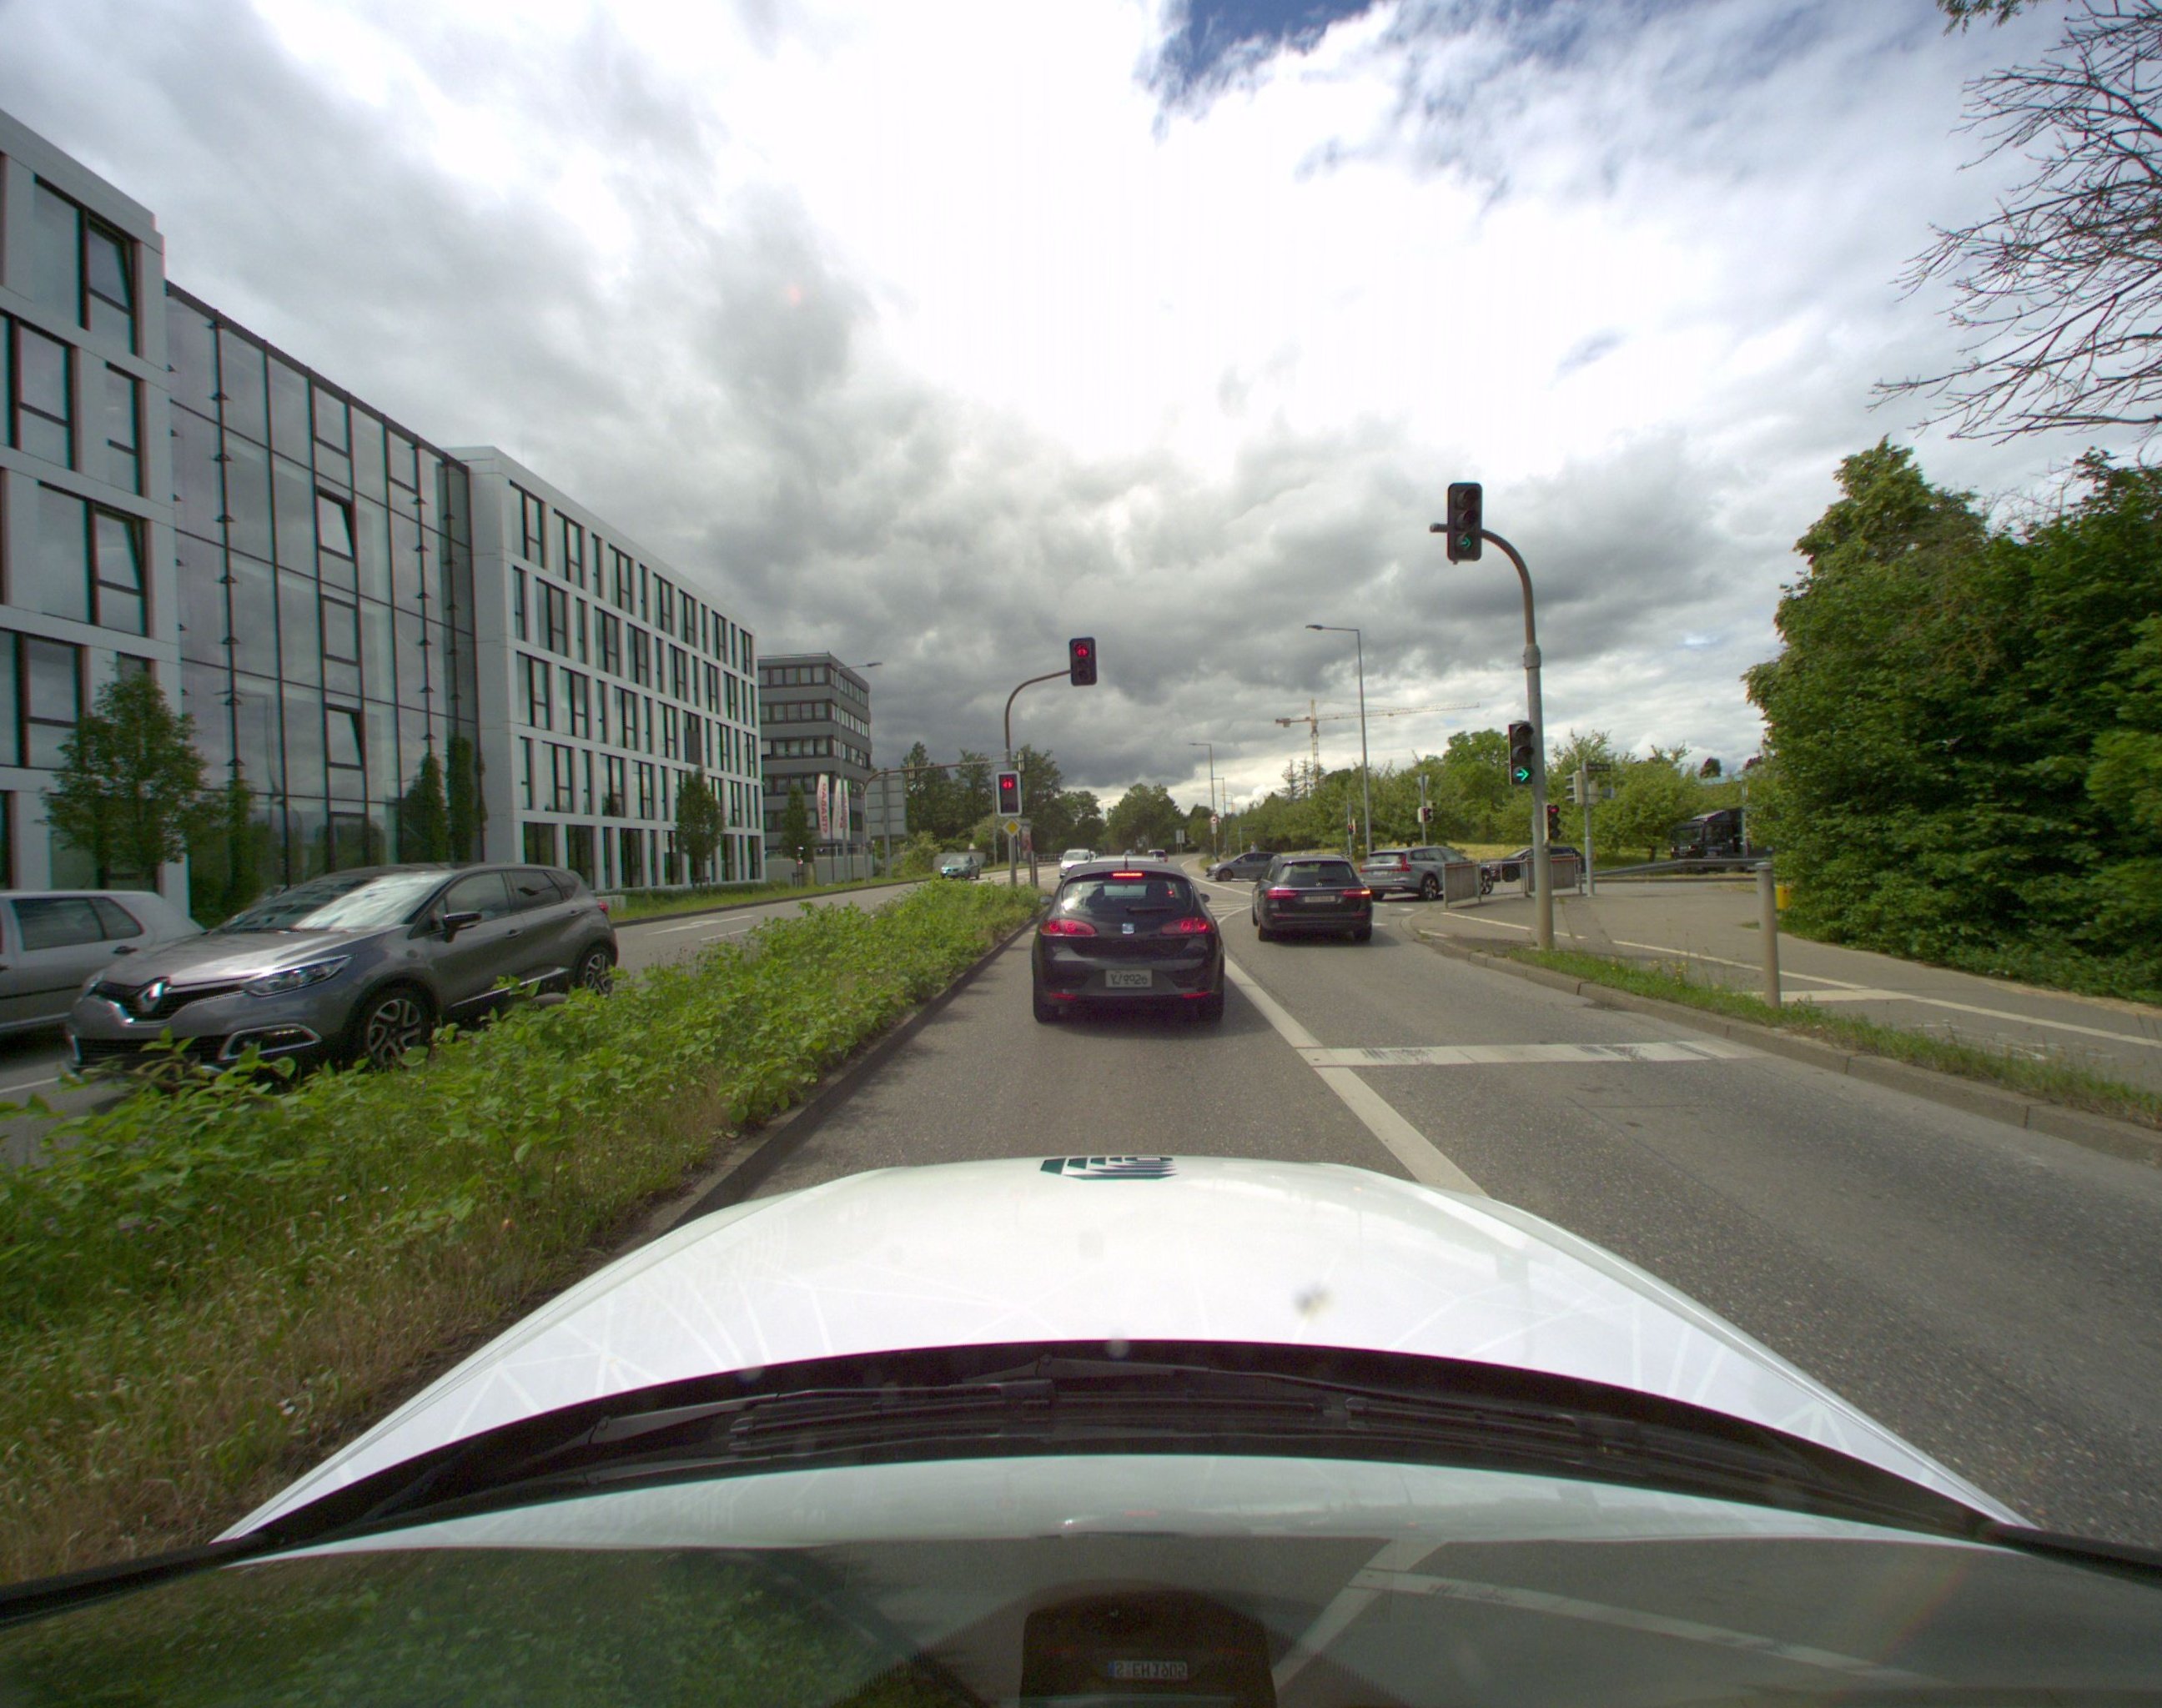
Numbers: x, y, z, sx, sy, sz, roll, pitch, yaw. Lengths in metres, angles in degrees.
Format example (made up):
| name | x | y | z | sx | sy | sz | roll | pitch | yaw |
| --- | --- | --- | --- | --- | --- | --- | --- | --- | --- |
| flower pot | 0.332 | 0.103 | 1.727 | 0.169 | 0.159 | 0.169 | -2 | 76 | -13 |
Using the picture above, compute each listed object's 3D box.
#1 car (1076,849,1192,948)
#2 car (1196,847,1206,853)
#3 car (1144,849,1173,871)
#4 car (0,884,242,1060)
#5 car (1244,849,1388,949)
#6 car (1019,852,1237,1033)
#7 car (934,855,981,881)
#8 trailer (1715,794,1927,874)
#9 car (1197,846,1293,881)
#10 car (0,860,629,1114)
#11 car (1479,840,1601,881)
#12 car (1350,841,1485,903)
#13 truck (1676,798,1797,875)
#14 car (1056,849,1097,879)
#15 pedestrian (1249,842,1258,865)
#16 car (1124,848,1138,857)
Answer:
| name | x | y | z | sx | sy | sz | roll | pitch | yaw |
| --- | --- | --- | --- | --- | --- | --- | --- | --- | --- |
| car | 0.836 | 0.696 | 14.702 | 1.768 | 1.491 | 3.581 | -3 | 0 | 0 |
| car | 26.987 | -0.963 | 183.057 | 1.981 | 1.352 | 4.011 | -1 | 0 | 10 |
| car | 5.748 | 0.393 | 60.802 | 1.985 | 1.530 | 4.004 | -2 | 0 | 4 |
| car | -9.867 | 1.043 | 6.546 | 1.986 | 1.354 | 4.002 | -2 | 0 | 2 |
| car | 4.101 | 0.685 | 15.039 | 1.862 | 1.440 | 5.213 | -3 | 0 | 9 |
| car | 0.442 | 0.727 | 8.489 | 1.766 | 1.451 | 3.584 | -1 | 0 | 2 |
| car | -7.115 | 0.787 | 47.372 | 1.986 | 1.352 | 4.002 | -1 | 0 | 2 |
| trailer | 34.457 | -0.888 | 38.106 | 7.543 | 3.458 | 2.004 | -1 | 0 | 7 |
| car | 8.096 | 0.471 | 40.411 | 4.293 | 1.525 | 1.998 | -2 | 0 | -2 |
| car | -6.105 | 0.867 | 7.234 | 1.929 | 1.517 | 3.998 | -2 | 0 | -1 |
| car | 20.444 | 0.284 | 36.451 | 4.282 | 1.615 | 2.003 | -2 | 0 | 6 |
| car | 9.718 | 0.470 | 23.346 | 4.472 | 1.518 | 1.846 | -3 | 0 | -43 |
| truck | 30.904 | -0.813 | 38.519 | 3.965 | 3.469 | 2.004 | -1 | 0 | 7 |
| car | -0.212 | 0.554 | 47.846 | 1.984 | 1.596 | 4.006 | -2 | 0 | 5 |
| pedestrian | 13.147 | -0.018 | 62.231 | 0.556 | 1.726 | 0.588 | -1 | 0 | 3 |
| car | 8.341 | -0.216 | 135.853 | 1.981 | 1.352 | 4.011 | -1 | 0 | 10 |
